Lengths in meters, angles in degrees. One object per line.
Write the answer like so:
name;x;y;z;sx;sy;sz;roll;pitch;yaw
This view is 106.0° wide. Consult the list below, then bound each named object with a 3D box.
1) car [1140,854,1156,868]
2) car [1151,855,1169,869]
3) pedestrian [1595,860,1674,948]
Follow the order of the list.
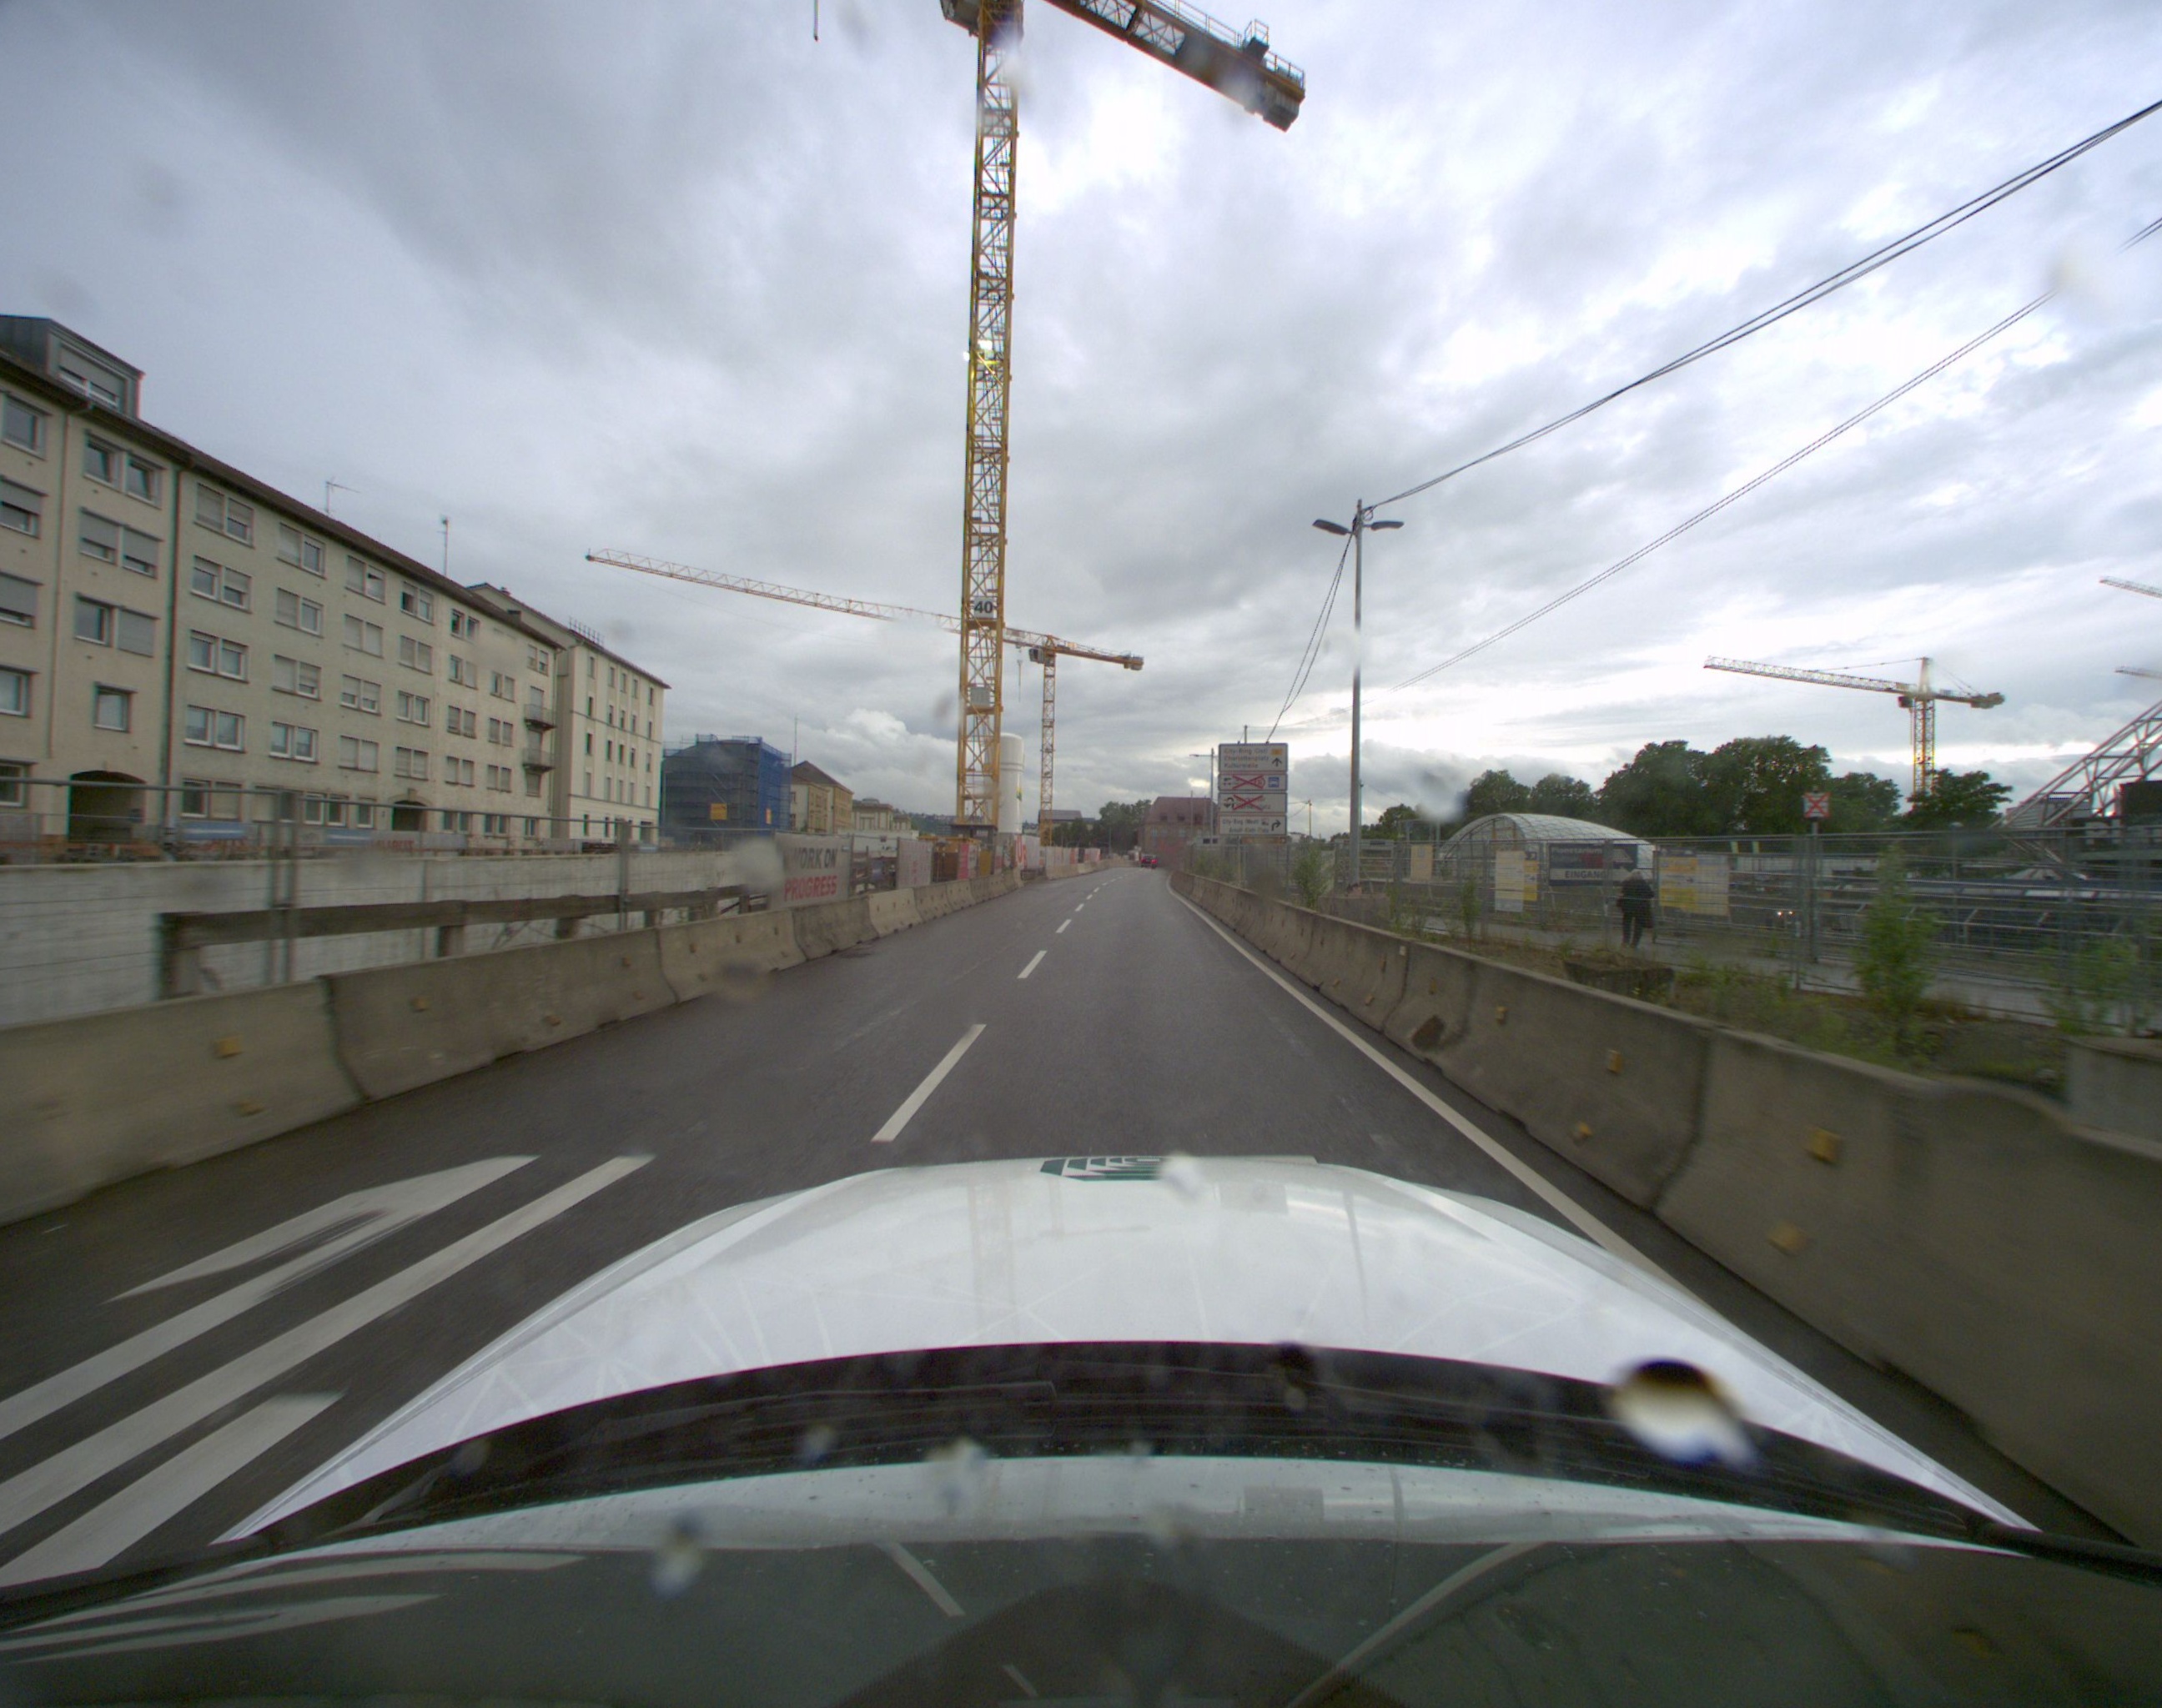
car;8.796;0.930;106.279;1.853;1.661;4.665;1;0;7
car;8.453;0.857;87.272;1.854;1.433;4.663;1;-1;6
pedestrian;10.957;0.969;16.143;1.025;1.658;0.891;1;-2;-27
